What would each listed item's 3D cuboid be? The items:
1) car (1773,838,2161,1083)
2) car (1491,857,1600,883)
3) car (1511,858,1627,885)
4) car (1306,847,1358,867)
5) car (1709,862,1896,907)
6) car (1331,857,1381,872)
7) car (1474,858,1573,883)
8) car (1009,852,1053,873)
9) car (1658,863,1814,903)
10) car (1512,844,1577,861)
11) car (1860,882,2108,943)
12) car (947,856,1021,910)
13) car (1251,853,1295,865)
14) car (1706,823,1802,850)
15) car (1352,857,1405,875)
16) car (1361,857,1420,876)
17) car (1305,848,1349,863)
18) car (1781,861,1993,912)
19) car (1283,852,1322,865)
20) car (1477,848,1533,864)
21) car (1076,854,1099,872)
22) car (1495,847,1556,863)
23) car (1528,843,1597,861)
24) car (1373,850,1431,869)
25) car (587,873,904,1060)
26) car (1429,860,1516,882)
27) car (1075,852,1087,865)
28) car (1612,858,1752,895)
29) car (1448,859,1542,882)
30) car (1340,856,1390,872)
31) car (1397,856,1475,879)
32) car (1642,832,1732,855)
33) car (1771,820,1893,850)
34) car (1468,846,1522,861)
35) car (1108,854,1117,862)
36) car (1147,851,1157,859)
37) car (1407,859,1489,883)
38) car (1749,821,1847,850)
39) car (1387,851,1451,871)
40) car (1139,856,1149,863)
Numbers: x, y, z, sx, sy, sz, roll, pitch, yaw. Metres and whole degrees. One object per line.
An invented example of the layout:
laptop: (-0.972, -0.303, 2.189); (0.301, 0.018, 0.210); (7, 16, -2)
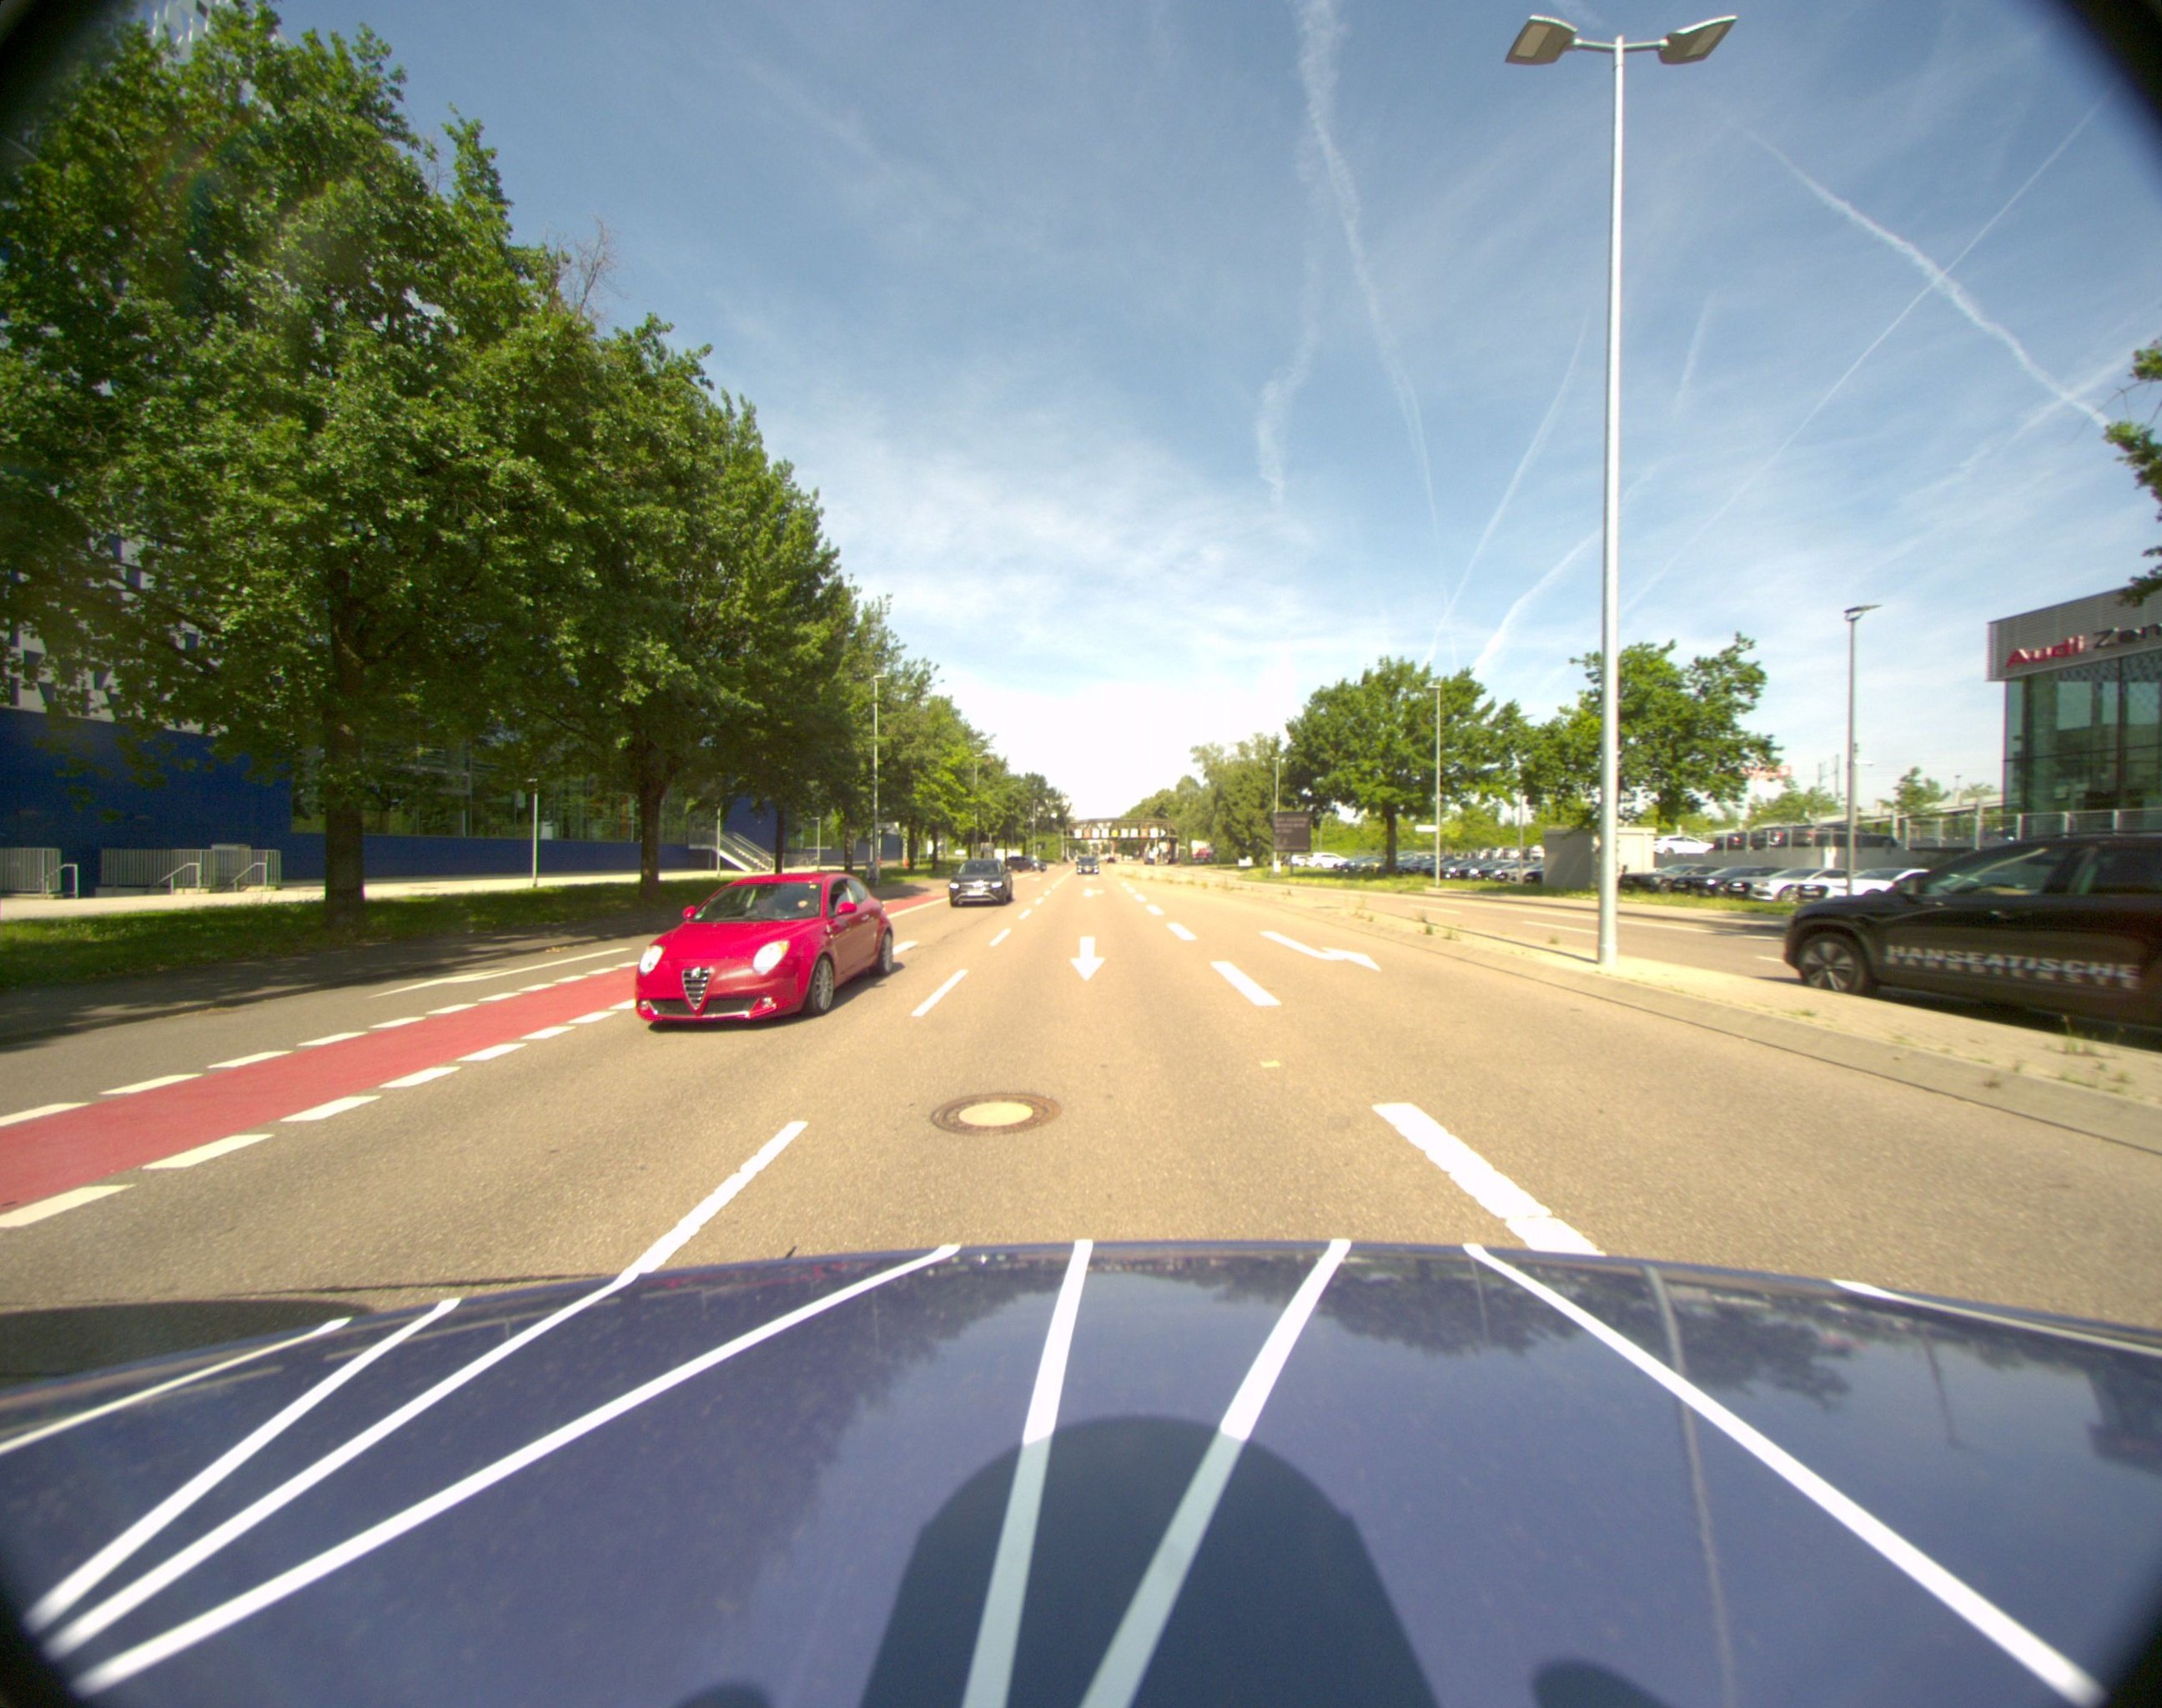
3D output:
car: (8.001, 0.741, 5.696); (1.742, 1.609, 4.209); (3, 0, 1)
car: (24.305, 0.833, 39.897); (4.511, 1.282, 2.004); (1, 0, -1)
car: (24.075, 0.845, 37.599); (4.511, 1.282, 1.919); (1, 0, -1)
car: (24.334, 0.308, 73.766); (4.474, 1.864, 2.000); (-1, 0, 2)
car: (23.722, 0.971, 25.099); (4.185, 1.149, 2.087); (4, 0, -1)
car: (24.691, 0.962, 68.319); (3.801, 1.278, 1.744); (-1, 0, -1)
car: (24.511, 0.907, 42.134); (4.511, 1.282, 1.691); (1, 1, -1)
car: (-4.940, 0.811, 74.749); (3.989, 2.002, 2.004); (-1, 1, 37)
car: (23.612, 1.026, 27.506); (3.997, 1.149, 1.897); (4, 0, -1)
car: (40.602, -0.118, 66.616); (4.511, 1.476, 1.979); (1, 1, -1)
car: (23.484, 1.495, 19.894); (4.185, 1.183, 1.955); (4, 0, -1)
car: (-3.197, 0.911, 25.730); (1.824, 1.632, 4.112); (-1, 0, 2)
car: (22.761, 0.581, 90.054); (4.698, 1.381, 2.000); (-1, 0, 1)
car: (40.535, -1.040, 45.834); (3.997, 1.487, 2.051); (-1, 0, 0)
car: (24.664, 0.986, 63.111); (3.752, 1.278, 1.663); (2, 0, -1)
car: (24.586, 1.006, 60.521); (3.897, 1.332, 1.840); (2, 0, -1)
car: (25.529, 0.177, 79.056); (3.995, 1.477, 1.848); (-1, 0, 4)
car: (23.708, 0.929, 22.472); (4.185, 1.183, 1.955); (4, 0, -1)
car: (23.803, 0.477, 81.681); (3.689, 1.363, 1.816); (-1, 0, 1)
car: (40.127, 0.167, 71.913); (4.213, 1.468, 1.999); (-1, 0, -2)
car: (0.551, 0.705, 64.466); (1.888, 1.427, 4.000); (-1, 0, 1)
car: (40.462, 0.091, 69.255); (4.511, 1.410, 1.890); (-1, 0, -1)
car: (40.693, -0.194, 64.277); (4.511, 1.476, 1.979); (1, 1, -1)
car: (24.423, 0.417, 57.961); (3.603, 1.278, 1.865); (2, 0, -1)
car: (-3.376, 1.028, 8.588); (1.798, 1.446, 3.978); (-1, 1, 0)
car: (24.446, 1.056, 47.549); (4.511, 1.282, 1.919); (1, 0, -1)
car: (0.072, 0.716, 127.684); (1.998, 2.002, 4.000); (-1, 0, 0)
car: (23.703, 0.880, 30.051); (3.997, 1.149, 1.897); (4, 0, -1)
car: (24.360, 0.953, 44.805); (4.511, 1.282, 1.919); (1, 0, -1)
car: (24.548, 0.869, 65.688); (3.603, 1.278, 1.744); (2, 0, -1)
car: (24.657, 0.920, 52.833); (4.511, 1.467, 1.979); (1, 1, -1)
car: (40.665, -0.681, 51.049); (4.511, 1.476, 1.979); (1, 1, -1)
car: (39.942, -0.997, 40.506); (4.531, 1.487, 1.986); (-1, 0, 0)
car: (40.569, -0.052, 74.527); (4.213, 1.468, 1.999); (-1, 0, -2)
car: (6.798, 0.845, 163.982); (1.785, 1.438, 4.120); (1, 1, 1)
car: (14.449, 0.253, 154.780); (1.998, 1.608, 4.105); (2, 0, 5)
car: (24.354, 1.106, 50.476); (4.511, 1.467, 1.919); (1, 1, -1)
car: (40.524, -1.032, 43.004); (3.997, 1.487, 1.668); (-1, 0, 0)
car: (24.650, 0.495, 55.488); (3.689, 1.278, 1.985); (2, 0, -1)
car: (13.679, 1.125, 164.943); (1.702, 1.510, 4.027); (2, 0, 0)
